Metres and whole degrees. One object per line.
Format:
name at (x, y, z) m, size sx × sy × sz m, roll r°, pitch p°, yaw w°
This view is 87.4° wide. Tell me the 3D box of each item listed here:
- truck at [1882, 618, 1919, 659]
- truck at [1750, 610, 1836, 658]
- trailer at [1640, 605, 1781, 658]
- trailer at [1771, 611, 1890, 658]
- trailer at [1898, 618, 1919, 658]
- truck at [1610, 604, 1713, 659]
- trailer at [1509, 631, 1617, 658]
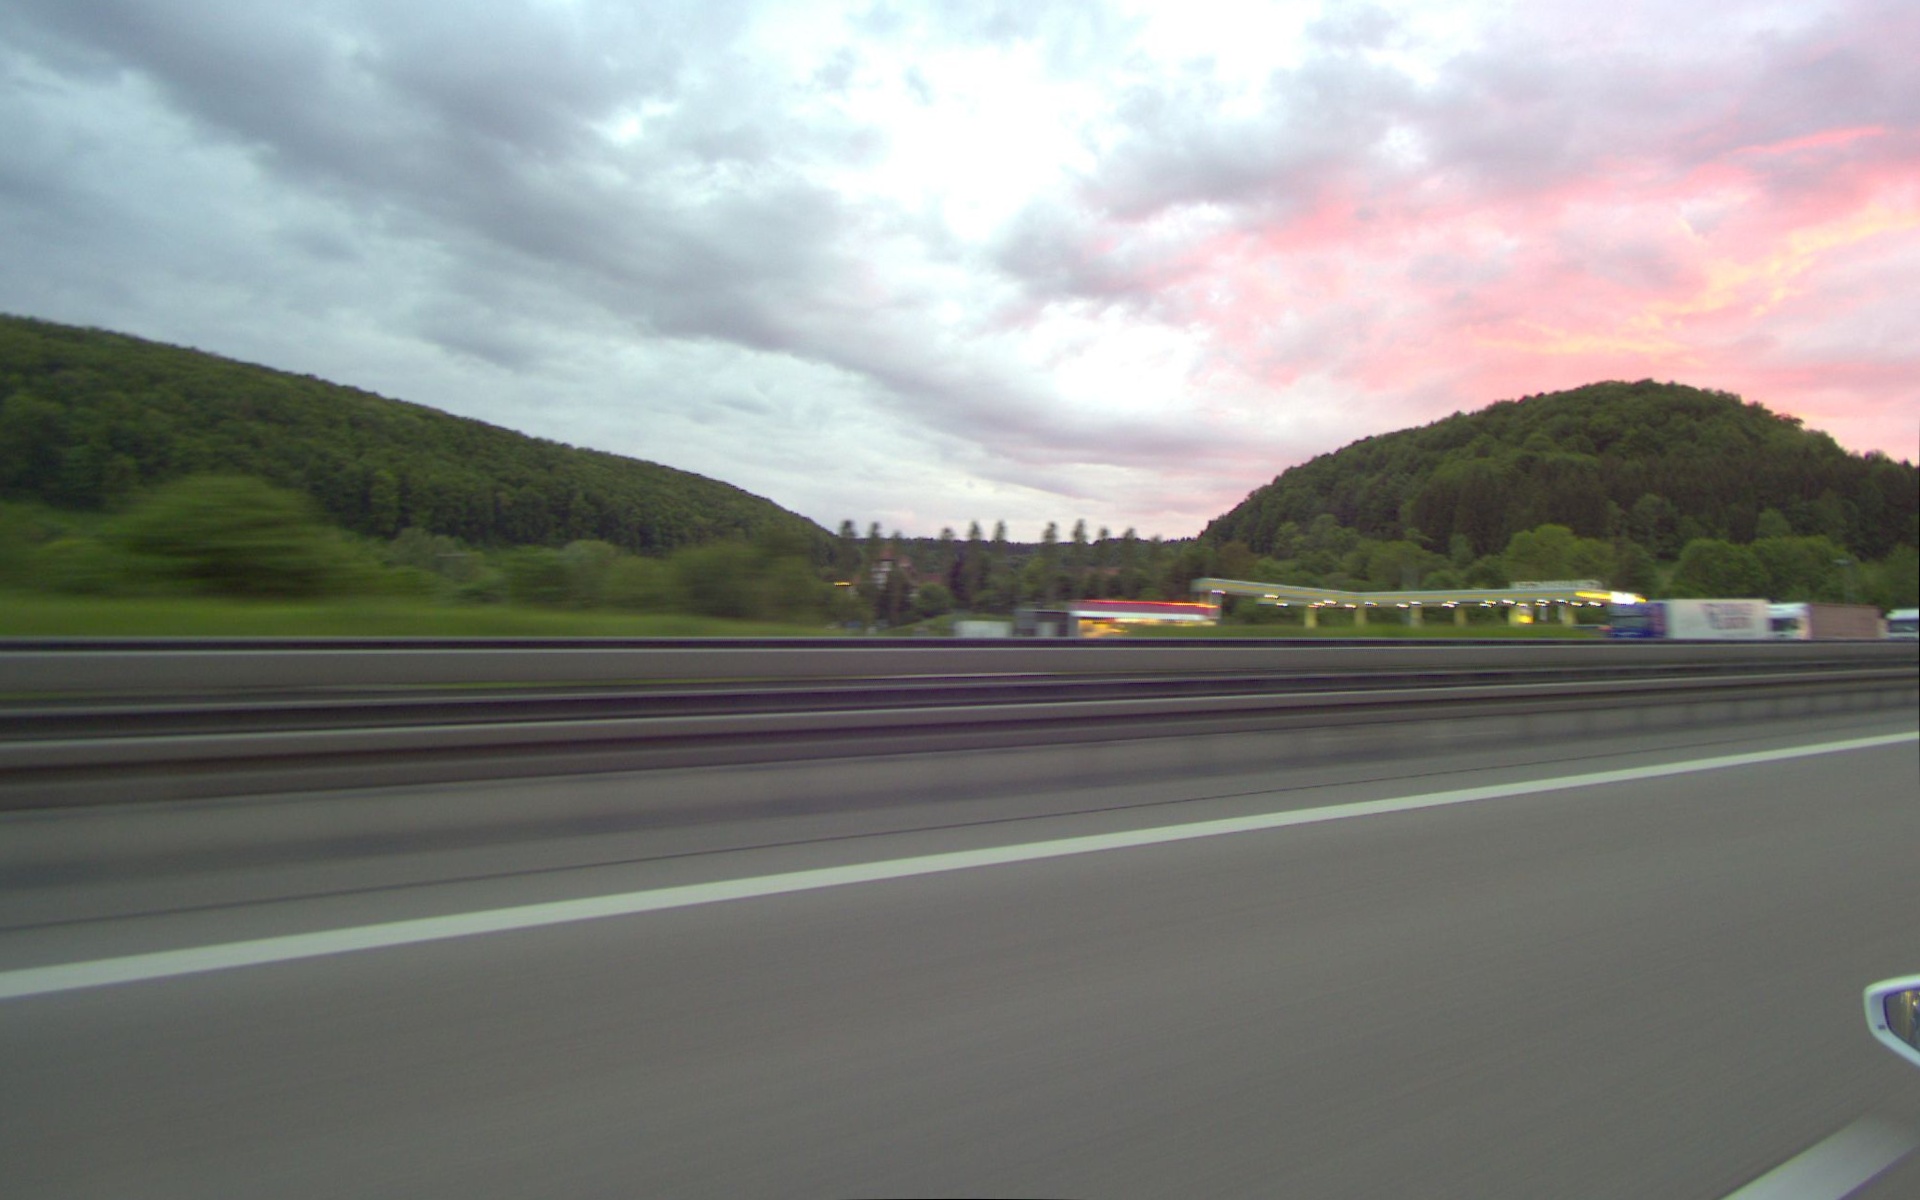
truck at (84.867, 3.393, 88.921) m, size 6.645 × 3.470 × 2.860 m, roll 2°, pitch 0°, yaw -30°
truck at (63.521, 2.622, 76.583) m, size 6.646 × 3.470 × 2.860 m, roll 2°, pitch 0°, yaw -30°
trailer at (52.729, 2.246, 70.376) m, size 13.064 × 3.470 × 2.860 m, roll 2°, pitch 0°, yaw -29°
trailer at (69.468, 2.789, 80.012) m, size 13.408 × 3.470 × 2.860 m, roll 2°, pitch 0°, yaw -30°
trailer at (90.907, 3.575, 92.408) m, size 13.686 × 3.470 × 2.860 m, roll 2°, pitch 0°, yaw -30°
truck at (46.849, 2.103, 67.048) m, size 7.087 × 3.421 × 2.861 m, roll 2°, pitch 0°, yaw -29°
trailer at (85.150, 6.280, 141.996) m, size 13.149 × 3.565 × 2.942 m, roll 1°, pitch -1°, yaw 4°
